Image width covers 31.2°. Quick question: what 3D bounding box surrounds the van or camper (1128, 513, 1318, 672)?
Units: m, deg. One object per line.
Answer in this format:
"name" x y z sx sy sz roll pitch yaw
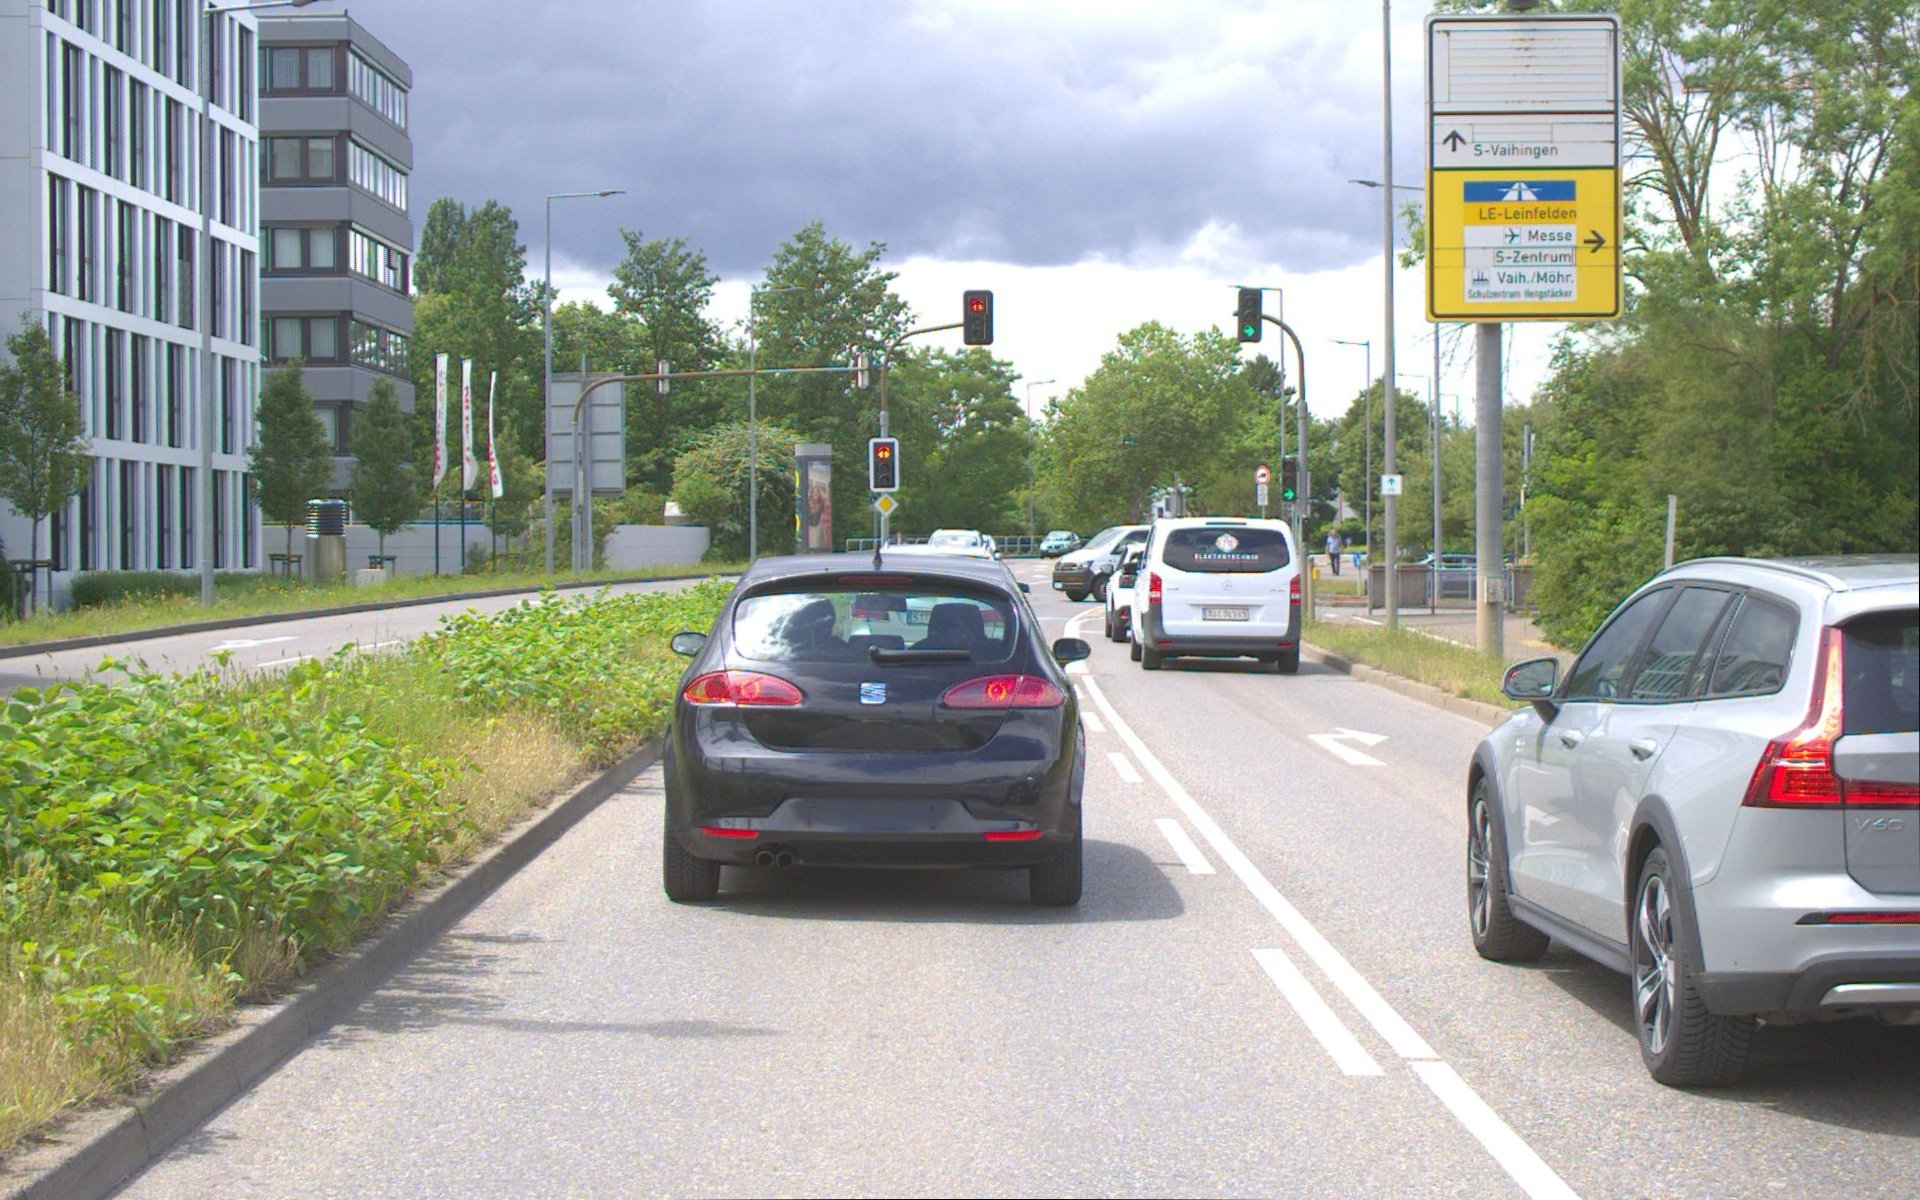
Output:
"van or camper" 3.196 -0.137 42.697 1.993 1.853 4.944 0 1 0

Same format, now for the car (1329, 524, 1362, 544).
"car" 26.371 -4.533 235.179 1.994 1.347 3.998 1 1 10

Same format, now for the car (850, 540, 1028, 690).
"car" -0.219 0.119 36.190 1.773 1.486 3.582 0 1 0

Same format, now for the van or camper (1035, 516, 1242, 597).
"van or camper" 4.484 -1.098 86.491 4.799 2.007 2.001 0 1 -21

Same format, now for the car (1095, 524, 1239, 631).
"car" 3.236 -0.377 54.363 1.993 1.626 4.000 0 1 -1

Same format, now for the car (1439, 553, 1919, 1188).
"car" 2.774 0.631 10.651 1.863 1.513 4.447 0 1 -1

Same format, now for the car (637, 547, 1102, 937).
"car" -0.300 0.523 15.147 1.773 1.447 3.582 1 1 2
